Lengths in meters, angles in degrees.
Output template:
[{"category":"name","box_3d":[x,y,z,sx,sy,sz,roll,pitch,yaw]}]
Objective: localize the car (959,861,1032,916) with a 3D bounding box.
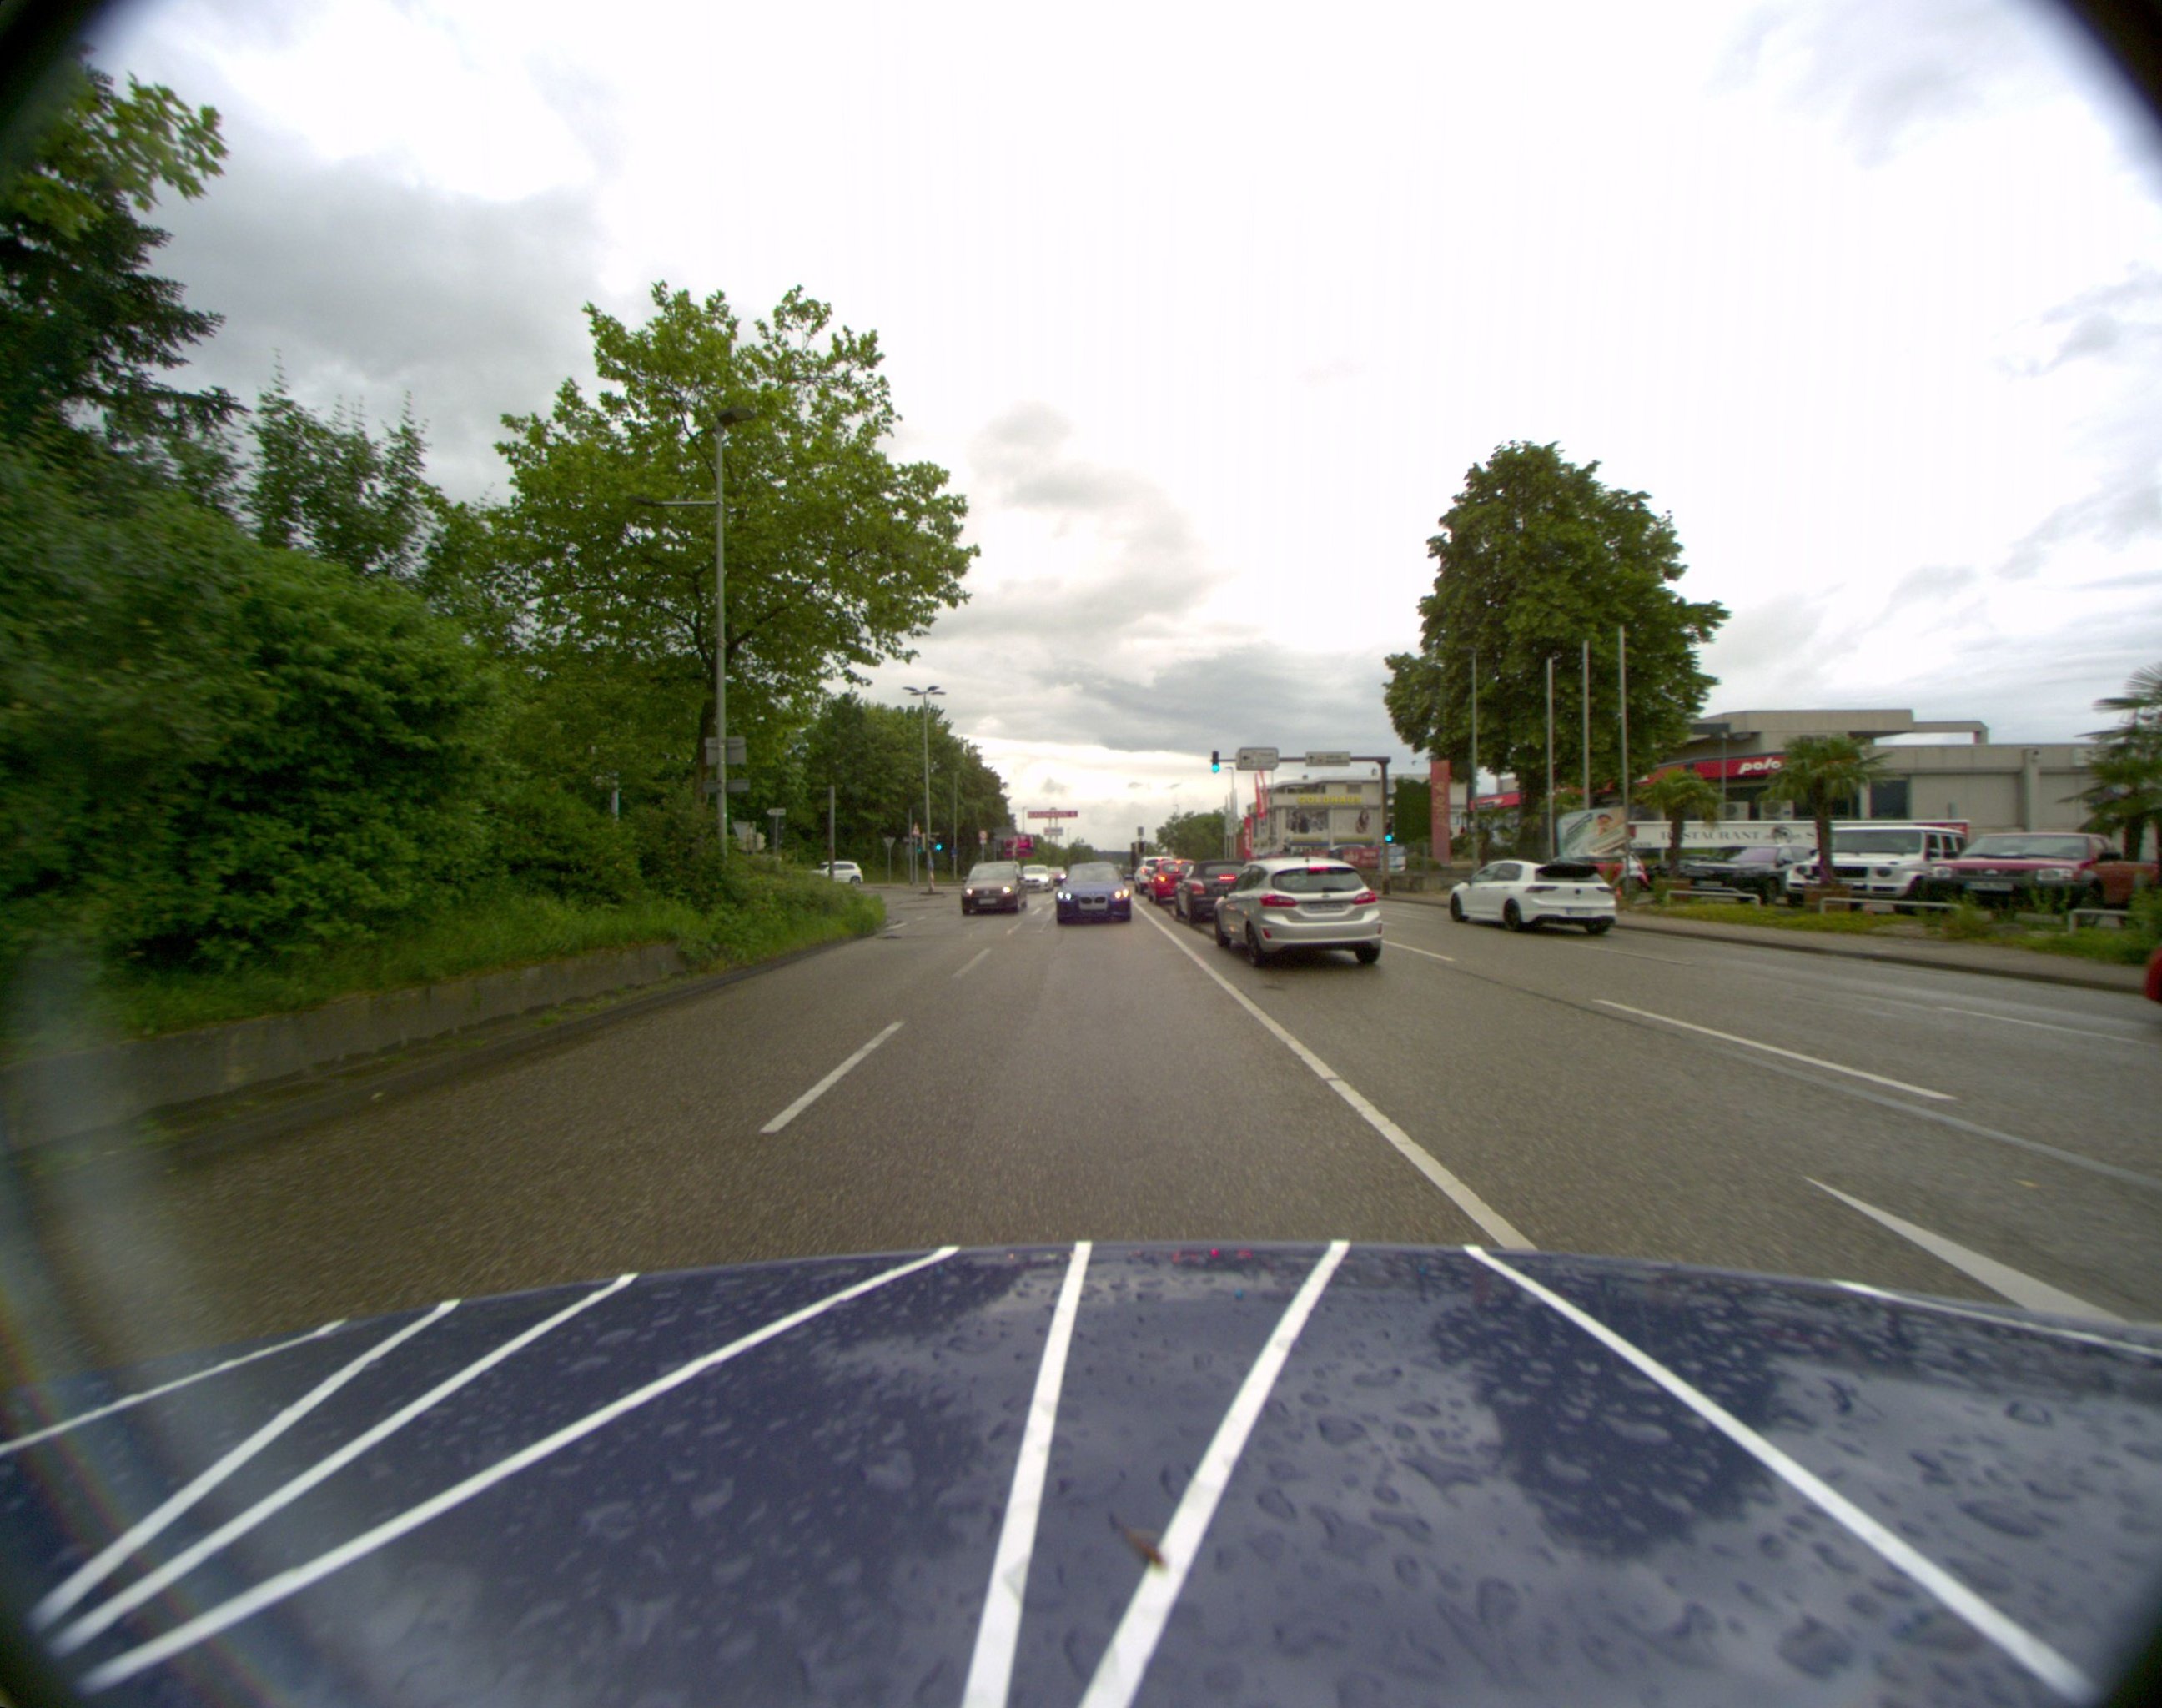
[{"category":"car","box_3d":[-2.671,1.041,24.632,1.751,1.599,3.981,-2,-1,2]}]

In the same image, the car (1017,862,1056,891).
[{"category":"car","box_3d":[-2.354,1.179,41.604,1.784,1.448,4.680,-2,-1,0]}]

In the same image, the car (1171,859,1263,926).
[{"category":"car","box_3d":[3.262,0.880,18.922,1.605,1.432,3.949,-2,-1,1]}]

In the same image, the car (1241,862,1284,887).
[{"category":"car","box_3d":[10.355,1.157,43.561,1.626,1.324,3.947,0,-1,1]}]

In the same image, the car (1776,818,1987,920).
[{"category":"car","box_3d":[17.707,0.340,16.799,4.407,2.001,1.996,1,-1,-26]}]

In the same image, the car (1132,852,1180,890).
[{"category":"car","box_3d":[3.406,0.762,35.316,1.844,1.639,4.298,-1,-1,1]}]

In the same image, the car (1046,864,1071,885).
[{"category":"car","box_3d":[-1.594,1.461,55.540,1.634,1.448,3.538,-2,-1,0]}]

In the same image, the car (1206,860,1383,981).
[{"category":"car","box_3d":[3.019,0.860,11.567,1.605,1.433,3.948,-2,0,1]}]

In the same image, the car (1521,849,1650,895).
[{"category":"car","box_3d":[17.287,0.571,26.254,3.608,1.495,1.669,0,1,30]}]

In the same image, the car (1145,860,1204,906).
[{"category":"car","box_3d":[3.193,0.957,26.679,1.636,1.425,4.144,-1,1,1]}]

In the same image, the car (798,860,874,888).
[{"category":"car","box_3d":[-15.860,1.268,49.384,1.994,1.717,4.326,-1,-1,40]}]

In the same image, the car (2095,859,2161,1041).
[{"category":"car","box_3d":[9.868,0.827,4.788,1.641,1.524,3.972,1,0,1]}]

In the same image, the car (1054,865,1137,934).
[{"category":"car","box_3d":[0.340,1.038,19.090,1.784,1.448,4.597,-2,-1,0]}]

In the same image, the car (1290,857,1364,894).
[{"category":"car","box_3d":[10.023,0.855,31.310,1.606,1.391,4.405,1,-1,0]}]

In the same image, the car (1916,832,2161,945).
[{"category":"car","box_3d":[17.374,0.550,13.510,5.020,1.693,1.995,1,2,-26]}]

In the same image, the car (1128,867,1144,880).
[{"category":"car","box_3d":[7.108,2.556,99.010,1.844,1.639,4.298,1,-1,1]}]

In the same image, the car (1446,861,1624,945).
[{"category":"car","box_3d":[9.308,0.921,15.983,1.640,1.469,4.046,0,0,6]}]

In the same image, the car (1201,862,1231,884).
[{"category":"car","box_3d":[10.192,1.458,57.493,1.680,1.608,4.001,0,-1,2]}]
